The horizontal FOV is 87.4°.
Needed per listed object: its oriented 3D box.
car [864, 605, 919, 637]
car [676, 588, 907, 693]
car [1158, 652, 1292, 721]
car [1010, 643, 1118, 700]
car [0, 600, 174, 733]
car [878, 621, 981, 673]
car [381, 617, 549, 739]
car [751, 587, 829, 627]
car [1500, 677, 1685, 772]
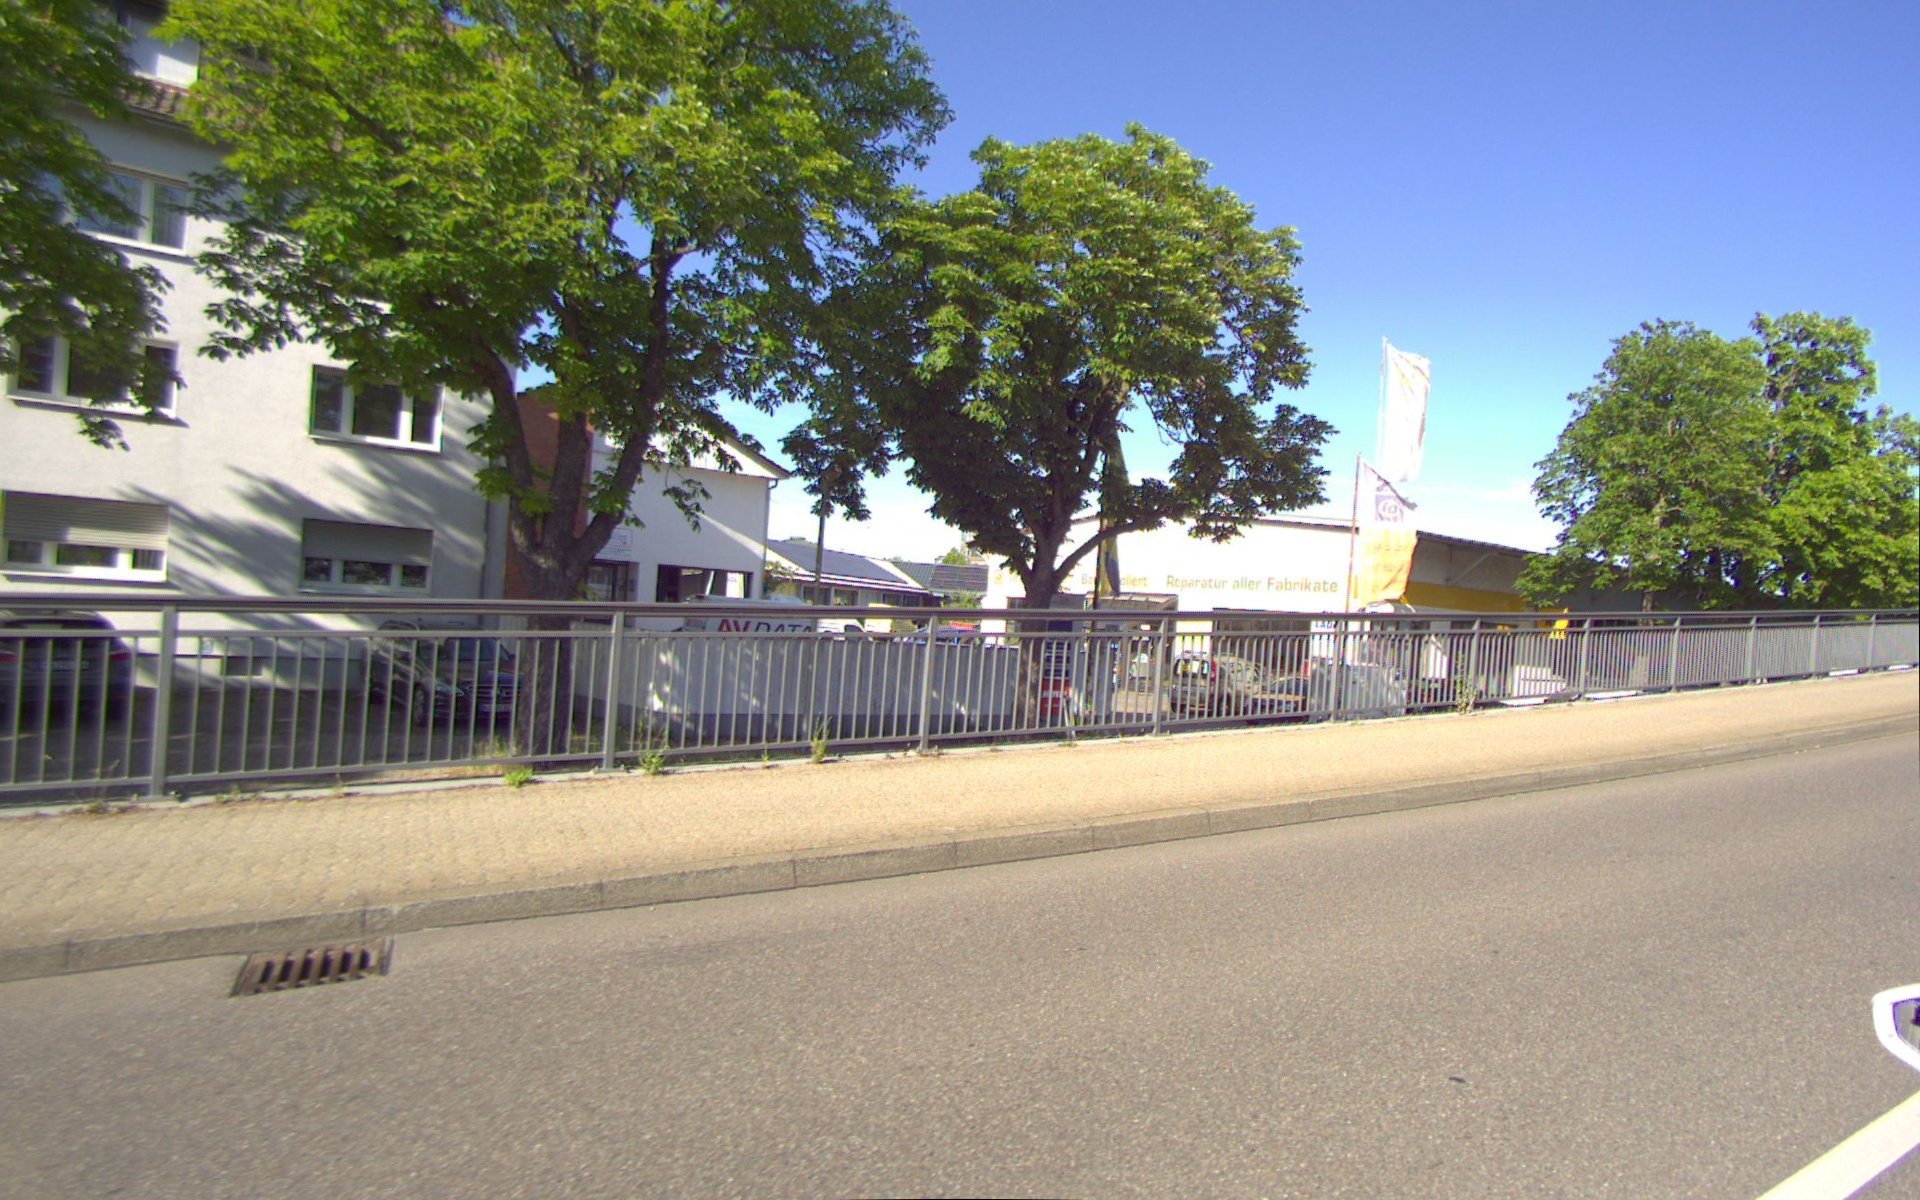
[{"bbox_3d":[-4.750,1.452,70.605,1.960,2.040,5.294,3,0,18],"label":"car"},{"bbox_3d":[-4.506,1.157,27.397,5.830,2.595,2.117,3,-2,-34],"label":"car"},{"bbox_3d":[8.222,2.626,31.036,3.966,1.876,1.978,3,-1,-39],"label":"car"},{"bbox_3d":[3.748,2.478,35.690,1.968,1.749,3.985,3,0,37],"label":"car"},{"bbox_3d":[-13.135,0.856,14.532,3.940,1.619,1.991,1,-1,40],"label":"car"},{"bbox_3d":[-1.295,2.028,43.243,3.964,2.040,1.979,3,0,-37],"label":"car"},{"bbox_3d":[-8.436,1.213,16.927,1.880,1.605,3.972,3,0,-35],"label":"car"},{"bbox_3d":[-9.362,0.414,55.764,1.960,2.040,5.294,3,0,18],"label":"car"},{"bbox_3d":[15.691,3.031,24.900,4.202,2.017,1.916,3,0,-26],"label":"car"}]
